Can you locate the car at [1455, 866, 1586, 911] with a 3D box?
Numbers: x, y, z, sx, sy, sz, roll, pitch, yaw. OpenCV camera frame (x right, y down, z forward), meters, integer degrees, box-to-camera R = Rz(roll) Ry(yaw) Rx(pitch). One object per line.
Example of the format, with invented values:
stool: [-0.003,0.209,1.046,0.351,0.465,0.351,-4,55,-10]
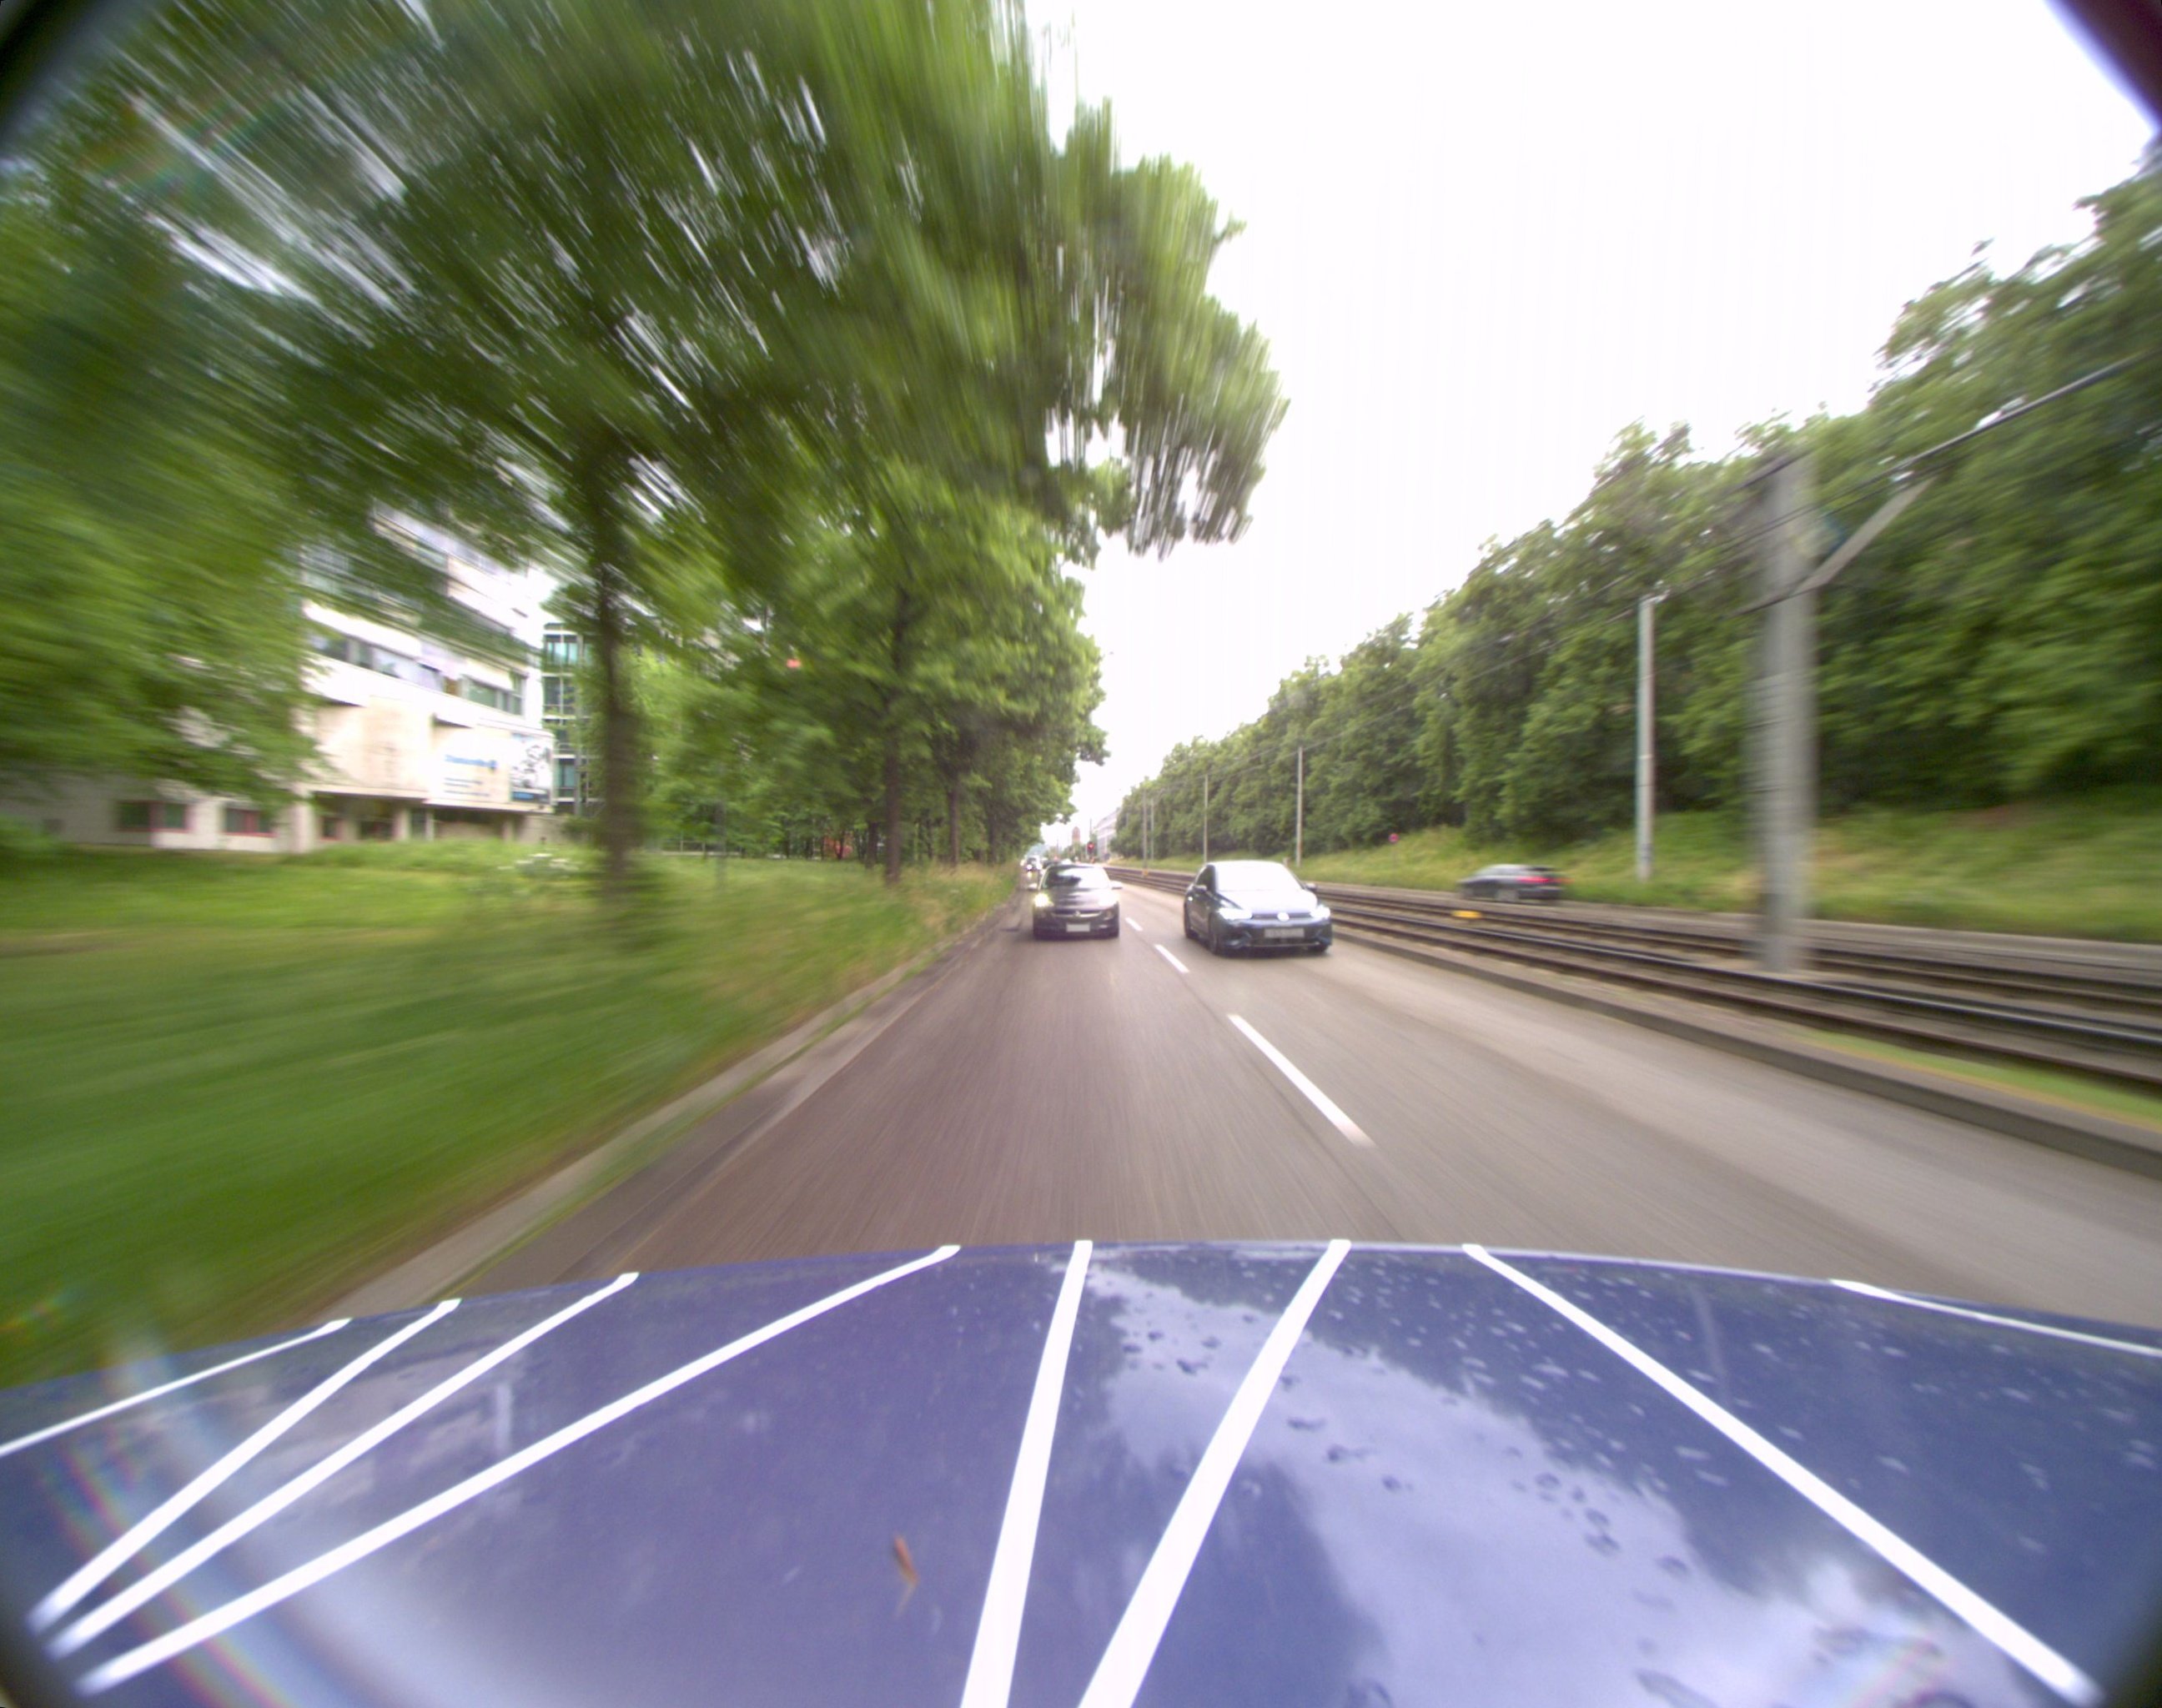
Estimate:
car: [16.404,1.228,28.670,2.000,1.423,4.428,2,0,-6]

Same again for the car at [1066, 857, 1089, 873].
car: [-0.392,1.122,78.172,1.961,1.472,4.697,-3,0,-5]

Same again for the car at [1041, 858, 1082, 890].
car: [-0.945,0.972,38.546,1.960,1.456,4.699,-1,0,-1]

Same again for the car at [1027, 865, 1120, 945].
car: [-0.101,0.983,16.330,1.710,1.425,4.429,-1,0,1]

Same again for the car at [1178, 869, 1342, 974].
car: [2.856,1.020,13.134,1.812,1.370,4.347,-2,0,0]

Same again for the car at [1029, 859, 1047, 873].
car: [-4.938,1.307,86.427,1.961,1.469,4.698,-3,0,-4]

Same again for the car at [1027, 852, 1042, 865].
car: [-7.328,0.730,119.459,1.961,1.914,4.843,-3,0,-7]
